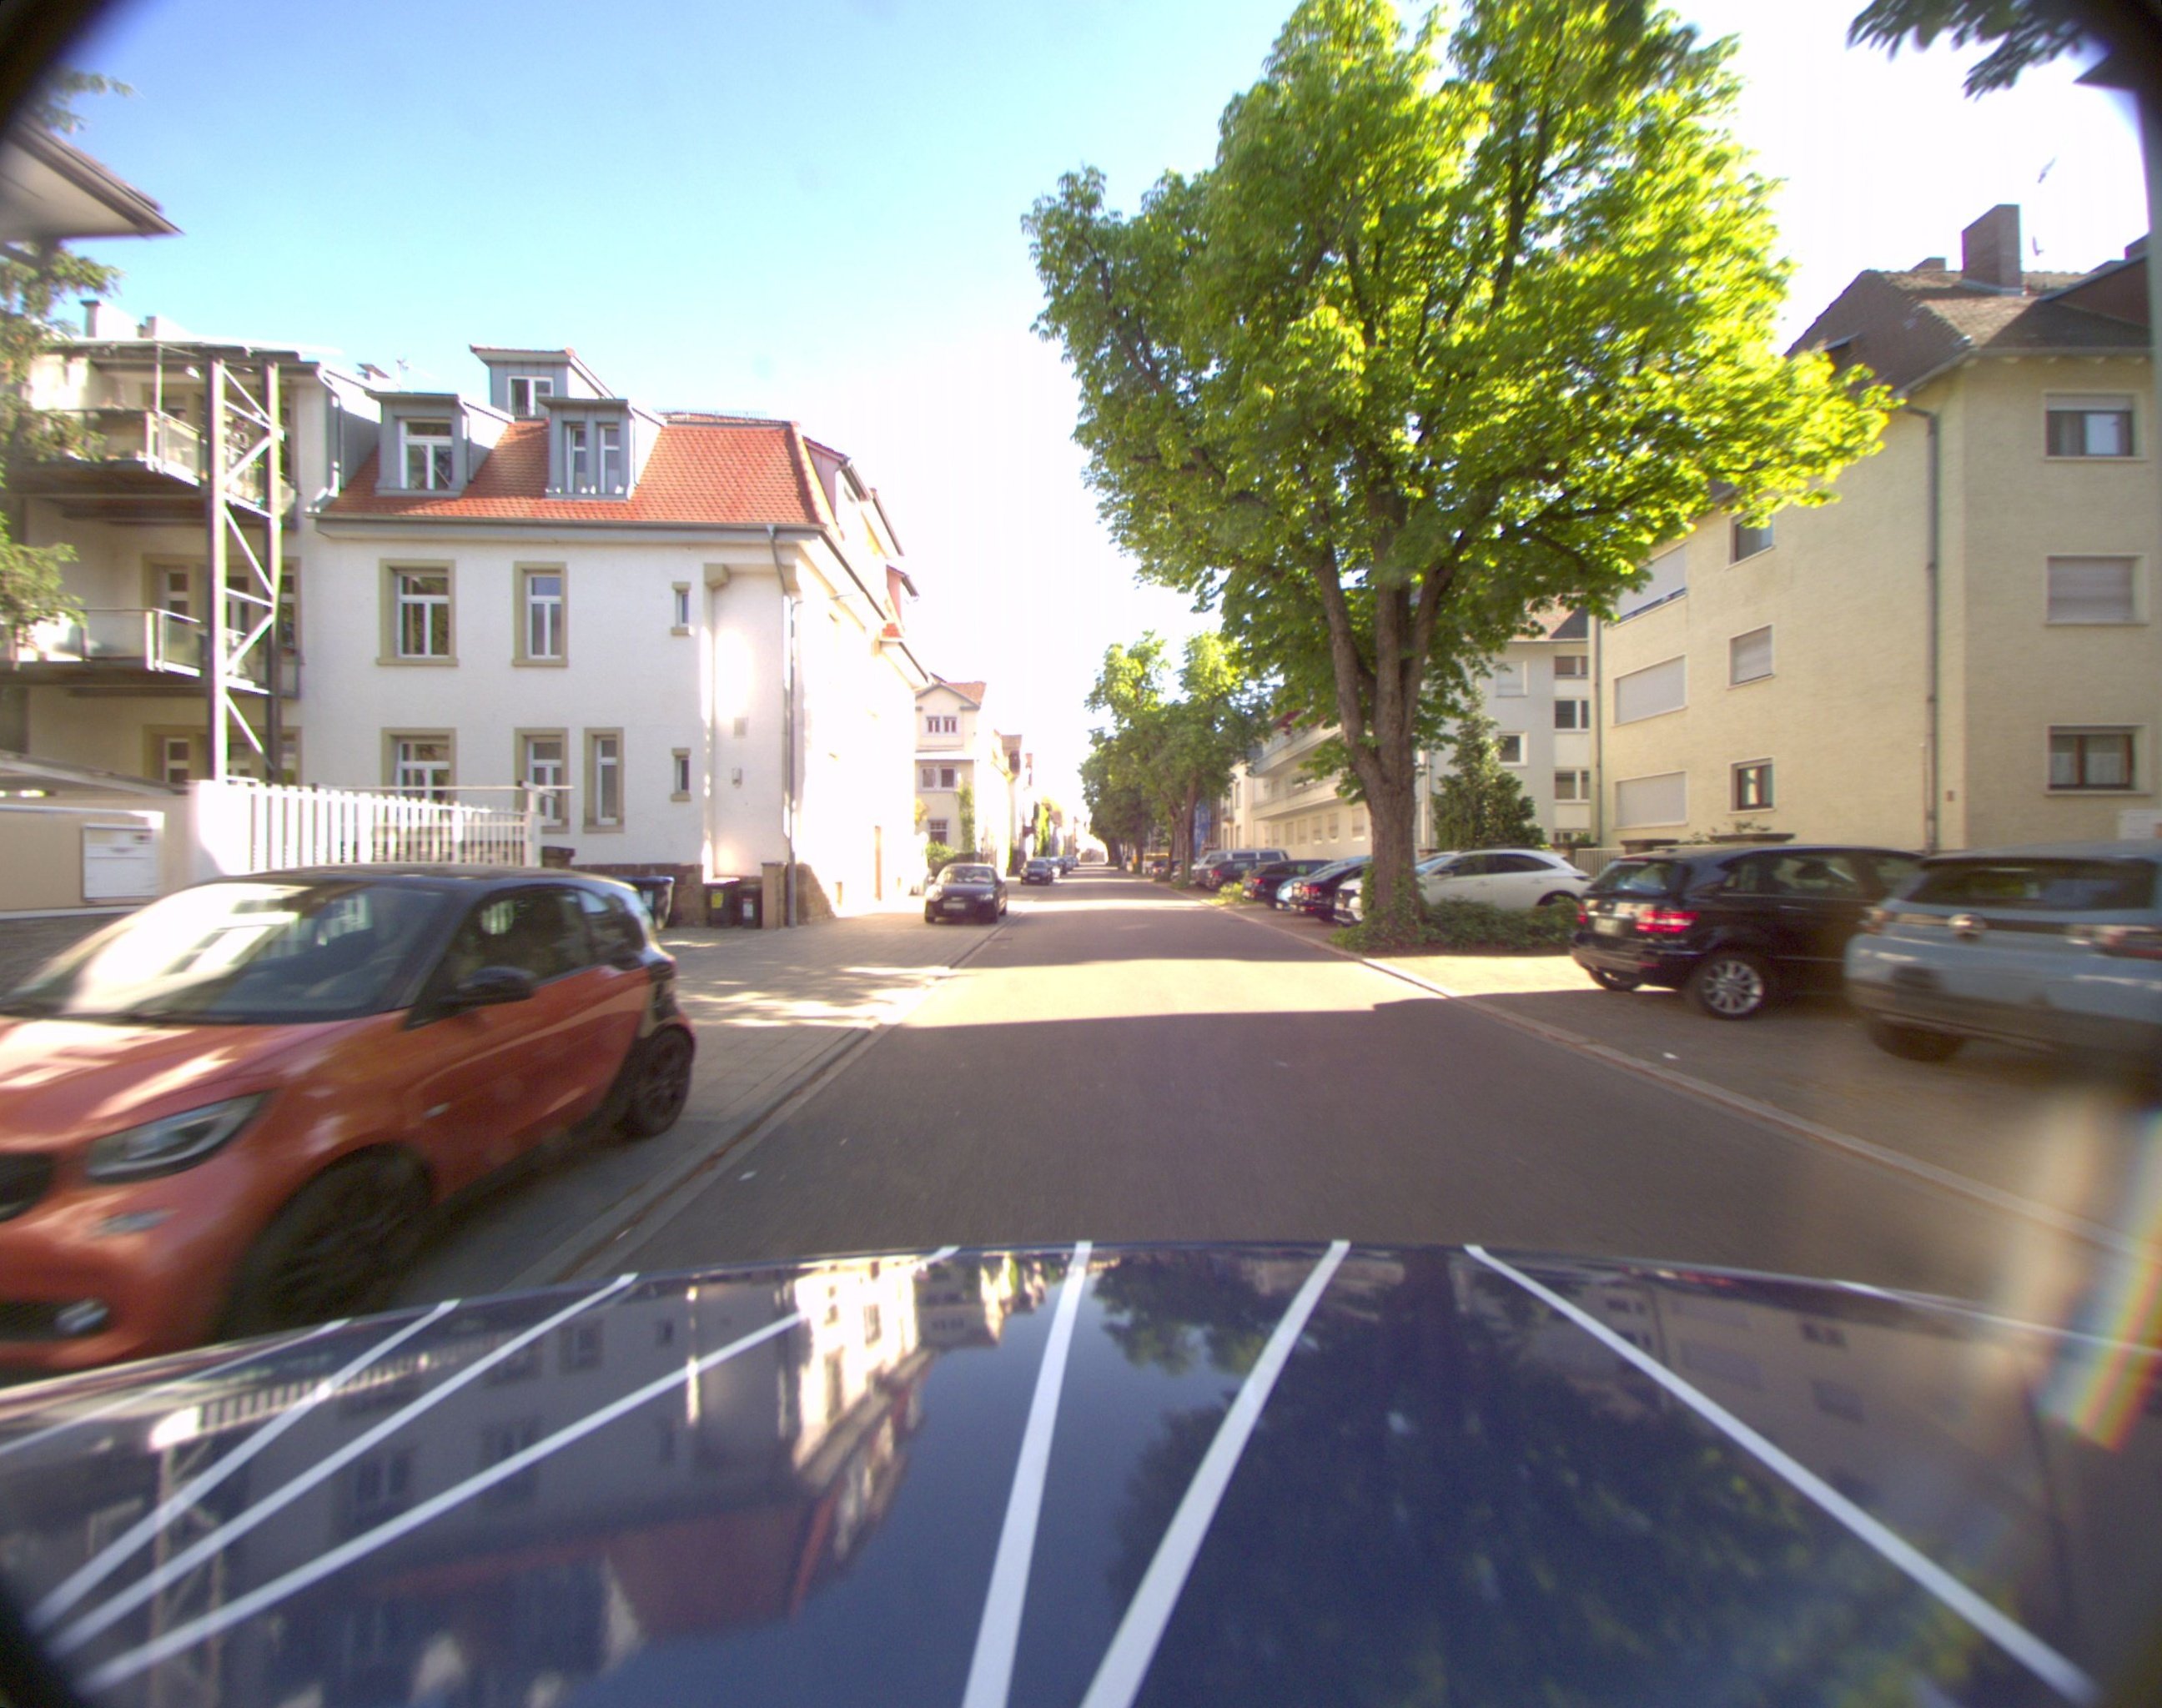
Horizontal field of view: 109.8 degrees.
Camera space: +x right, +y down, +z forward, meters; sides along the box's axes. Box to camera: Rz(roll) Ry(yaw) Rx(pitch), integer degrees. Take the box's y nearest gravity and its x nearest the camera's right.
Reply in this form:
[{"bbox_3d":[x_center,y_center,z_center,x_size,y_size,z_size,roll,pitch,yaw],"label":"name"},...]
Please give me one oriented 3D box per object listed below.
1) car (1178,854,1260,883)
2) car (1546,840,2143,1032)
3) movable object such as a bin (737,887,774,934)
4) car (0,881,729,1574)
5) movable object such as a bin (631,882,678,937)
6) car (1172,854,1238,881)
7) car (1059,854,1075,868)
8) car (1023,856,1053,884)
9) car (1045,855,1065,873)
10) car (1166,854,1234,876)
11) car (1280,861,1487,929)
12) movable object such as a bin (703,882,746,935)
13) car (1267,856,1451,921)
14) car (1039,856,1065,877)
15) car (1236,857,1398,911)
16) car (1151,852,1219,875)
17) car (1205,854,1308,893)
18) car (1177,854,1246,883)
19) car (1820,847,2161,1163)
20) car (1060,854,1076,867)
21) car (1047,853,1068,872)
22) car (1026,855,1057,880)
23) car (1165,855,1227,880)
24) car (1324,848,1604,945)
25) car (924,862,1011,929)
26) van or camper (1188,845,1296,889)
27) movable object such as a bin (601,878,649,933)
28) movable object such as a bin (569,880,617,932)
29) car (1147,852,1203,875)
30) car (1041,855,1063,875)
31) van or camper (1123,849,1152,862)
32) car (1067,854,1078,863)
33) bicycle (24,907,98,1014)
[{"bbox_3d":[7.187,0.751,39.894,3.932,1.406,1.715,-2,0,-1],"label":"car"},{"bbox_3d":[7.086,0.718,7.459,3.872,1.566,1.848,-2,0,4],"label":"car"},{"bbox_3d":[-6.996,1.208,16.330,0.487,0.931,0.653,-2,1,-3],"label":"movable object such as a bin"},{"bbox_3d":[-3.159,0.937,3.411,1.596,1.472,3.247,2,0,0],"label":"car"},{"bbox_3d":[-8.783,1.135,15.660,0.557,1.044,0.655,-2,1,-3],"label":"movable object such as a bin"},{"bbox_3d":[7.291,0.776,44.825,3.652,1.454,1.710,-2,1,3],"label":"car"},{"bbox_3d":[-1.723,0.835,94.399,1.872,1.635,4.199,1,0,1],"label":"car"},{"bbox_3d":[-2.532,0.916,45.473,1.667,1.511,4.000,1,1,-2],"label":"car"},{"bbox_3d":[-2.333,0.869,68.784,1.629,1.540,2.869,-1,1,0],"label":"car"},{"bbox_3d":[7.853,0.716,50.477,4.198,1.433,1.713,-1,0,0],"label":"car"},{"bbox_3d":[6.721,0.887,17.162,3.997,1.460,1.697,0,0,0],"label":"car"},{"bbox_3d":[-7.644,1.152,16.304,0.557,1.056,0.696,-2,1,-3],"label":"movable object such as a bin"},{"bbox_3d":[6.989,0.838,19.415,3.997,1.583,1.878,0,0,-1],"label":"car"},{"bbox_3d":[-2.178,0.923,57.730,1.713,1.428,4.192,2,1,0],"label":"car"},{"bbox_3d":[6.833,0.850,22.342,4.197,1.490,1.861,0,0,0],"label":"car"},{"bbox_3d":[7.454,0.673,54.763,4.601,1.598,1.833,-1,0,-2],"label":"car"},{"bbox_3d":[7.304,0.800,31.837,3.954,1.489,1.662,-1,0,3],"label":"car"},{"bbox_3d":[7.225,0.785,42.323,3.486,1.449,1.797,-2,1,2],"label":"car"},{"bbox_3d":[7.245,0.760,4.813,3.525,1.566,1.770,-2,0,-4],"label":"car"},{"bbox_3d":[-1.399,0.719,85.034,1.648,1.445,4.503,-1,0,0],"label":"car"},{"bbox_3d":[-2.279,0.775,73.873,1.782,1.686,4.320,-2,1,1],"label":"car"},{"bbox_3d":[-2.631,0.870,51.209,1.796,1.511,4.366,1,1,0],"label":"car"},{"bbox_3d":[7.135,0.820,47.356,3.488,1.412,1.709,-2,1,-4],"label":"car"},{"bbox_3d":[7.105,0.780,14.450,4.396,1.642,1.824,1,-1,2],"label":"car"},{"bbox_3d":[-2.789,0.978,19.431,1.624,1.431,3.934,2,0,-1],"label":"car"},{"bbox_3d":[7.246,0.587,34.584,4.508,1.903,1.964,0,1,1],"label":"van or camper"},{"bbox_3d":[-9.373,1.046,15.625,0.554,1.038,0.655,-2,1,-3],"label":"movable object such as a bin"},{"bbox_3d":[-10.038,1.064,15.640,0.519,0.997,0.655,-2,1,-3],"label":"movable object such as a bin"},{"bbox_3d":[7.280,0.719,58.833,3.883,1.505,1.831,-3,1,-8],"label":"car"},{"bbox_3d":[-2.355,0.875,62.221,1.579,1.540,3.468,1,1,0],"label":"car"},{"bbox_3d":[7.818,0.253,105.379,3.954,1.762,1.809,-1,-1,0],"label":"van or camper"},{"bbox_3d":[-1.392,0.721,128.384,1.813,1.546,4.106,-1,0,1],"label":"car"},{"bbox_3d":[-11.115,1.126,8.271,1.543,0.982,0.313,1,3,32],"label":"bicycle"}]
